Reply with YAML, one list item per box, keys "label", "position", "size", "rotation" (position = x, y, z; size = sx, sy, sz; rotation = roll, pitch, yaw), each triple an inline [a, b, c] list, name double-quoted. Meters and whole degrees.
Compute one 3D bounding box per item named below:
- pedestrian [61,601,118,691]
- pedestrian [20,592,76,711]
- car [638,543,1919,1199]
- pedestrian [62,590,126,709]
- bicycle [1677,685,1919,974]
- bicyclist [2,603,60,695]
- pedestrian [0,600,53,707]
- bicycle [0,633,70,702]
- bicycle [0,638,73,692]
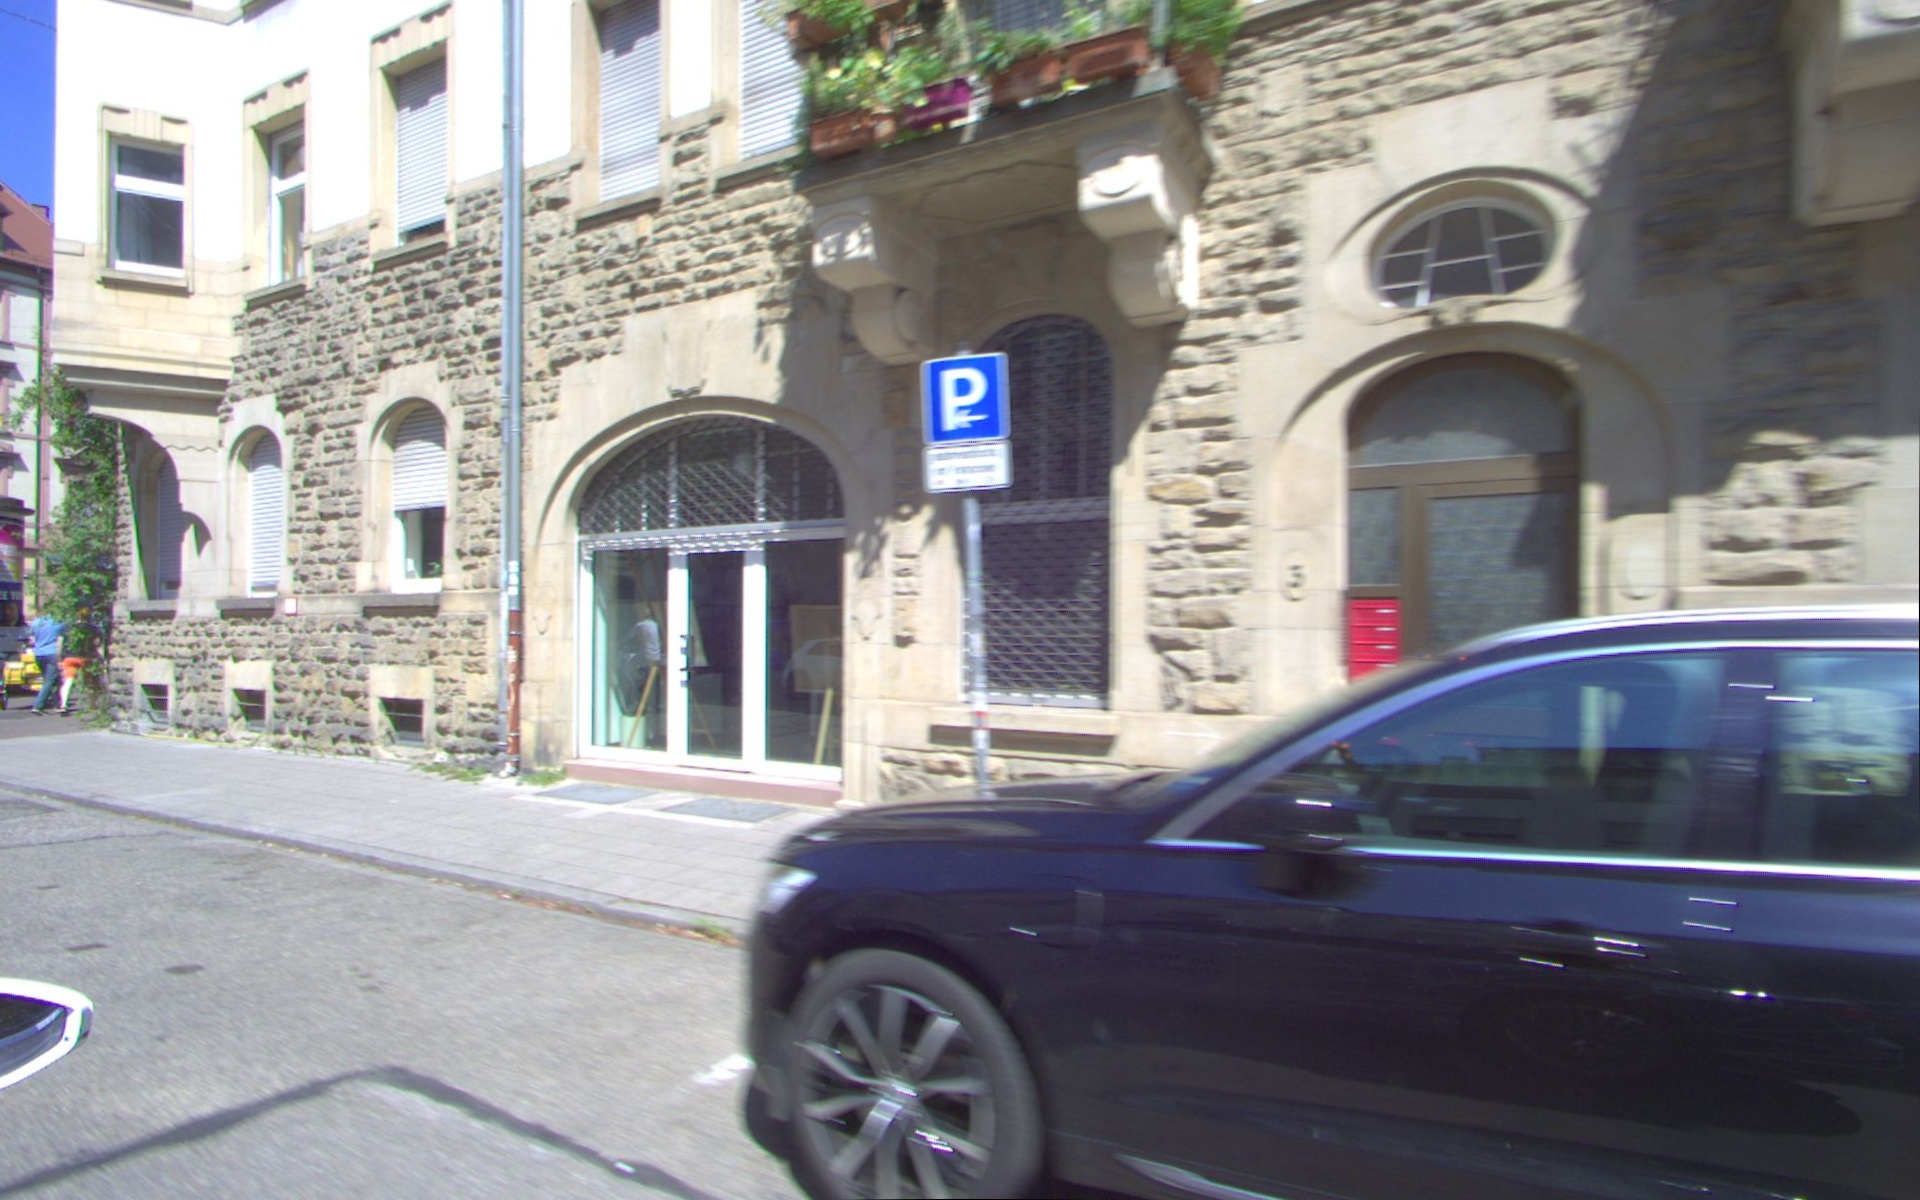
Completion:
- label: "pedestrian"
  position: [-17.991, 0.947, 20.710]
  size: [0.572, 1.817, 0.749]
  rotation: [0, -1, -9]
- label: "pedestrian"
  position: [-14.903, 0.830, 16.368]
  size: [0.512, 1.892, 0.650]
  rotation: [1, -1, -29]
- label: "car"
  position: [1.497, 0.767, 2.653]
  size: [4.534, 1.586, 1.833]
  rotation: [-1, -4, 29]
- label: "pedestrian"
  position: [-14.261, 0.809, 16.512]
  size: [0.592, 1.904, 0.879]
  rotation: [1, -1, -29]
- label: "bicycle"
  position: [4.344, 1.030, 4.531]
  size: [1.749, 1.223, 0.383]
  rotation: [-1, -1, 31]
- label: "bicyclist"
  position: [-17.226, 0.896, 18.579]
  size: [0.670, 1.669, 0.658]
  rotation: [0, -1, -33]
- label: "pedestrian"
  position: [-15.973, 0.898, 17.060]
  size: [0.606, 1.774, 0.637]
  rotation: [-1, -1, 33]
- label: "bicycle"
  position: [-17.176, 1.210, 18.465]
  size: [0.786, 1.184, 2.562]
  rotation: [0, -1, -34]
- label: "bicycle"
  position: [-19.582, 1.334, 20.610]
  size: [0.624, 1.052, 1.898]
  rotation: [-1, -1, 30]
